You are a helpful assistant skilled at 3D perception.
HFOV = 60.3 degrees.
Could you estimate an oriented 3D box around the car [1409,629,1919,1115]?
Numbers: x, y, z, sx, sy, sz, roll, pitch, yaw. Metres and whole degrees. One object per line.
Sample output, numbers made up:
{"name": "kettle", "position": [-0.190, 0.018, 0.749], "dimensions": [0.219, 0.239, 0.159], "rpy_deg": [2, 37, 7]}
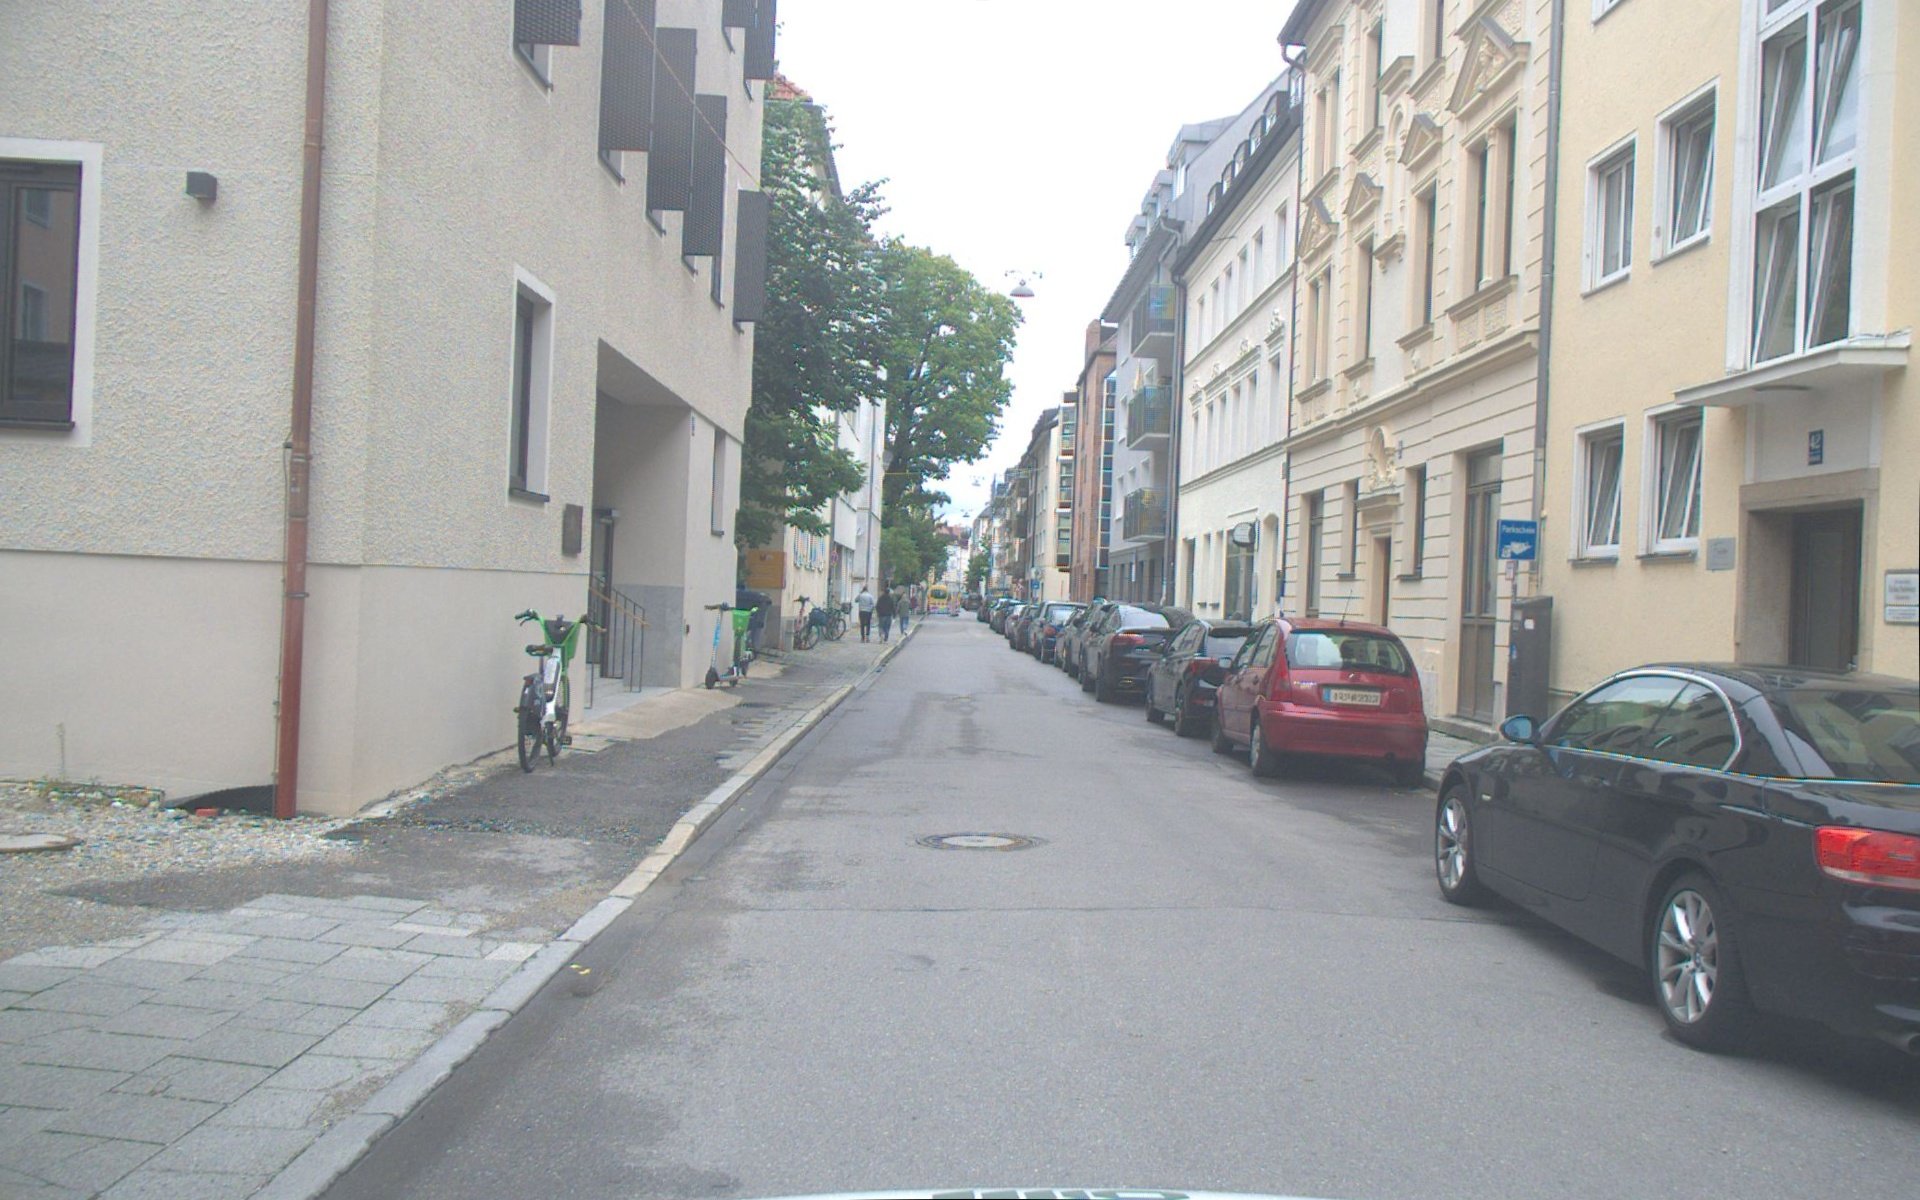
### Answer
{"name": "car", "position": [3.566, 0.942, 7.252], "dimensions": [1.789, 1.357, 4.507], "rpy_deg": [6, 0, -1]}

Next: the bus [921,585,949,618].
{"name": "bus", "position": [-2.416, 0.169, 160.529], "dimensions": [2.540, 3.156, 6.305], "rpy_deg": [1, -1, 0]}

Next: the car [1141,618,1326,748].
{"name": "car", "position": [3.450, 1.002, 21.558], "dimensions": [1.642, 1.417, 4.065], "rpy_deg": [2, 0, -1]}

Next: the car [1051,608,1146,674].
{"name": "car", "position": [3.217, 0.934, 39.075], "dimensions": [1.763, 1.410, 4.348], "rpy_deg": [2, 0, -1]}

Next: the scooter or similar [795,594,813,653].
{"name": "scooter or similar", "position": [-3.760, 0.564, 39.874], "dimensions": [0.311, 1.400, 1.239], "rpy_deg": [1, -1, -1]}

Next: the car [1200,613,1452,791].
{"name": "car", "position": [3.620, 0.943, 16.994], "dimensions": [1.642, 1.518, 3.853], "rpy_deg": [2, 0, -1]}

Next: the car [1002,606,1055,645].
{"name": "car", "position": [2.806, 1.040, 68.427], "dimensions": [1.799, 1.442, 4.599], "rpy_deg": [3, 0, -2]}

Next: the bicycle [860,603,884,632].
{"name": "bicycle", "position": [-3.959, 0.784, 74.424], "dimensions": [0.631, 1.239, 1.655], "rpy_deg": [2, -1, -19]}

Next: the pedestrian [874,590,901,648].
{"name": "pedestrian", "position": [-2.303, 0.598, 52.561], "dimensions": [0.704, 1.796, 0.838], "rpy_deg": [4, -1, 0]}

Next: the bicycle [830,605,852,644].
{"name": "bicycle", "position": [-3.711, 0.764, 51.464], "dimensions": [0.551, 1.179, 1.718], "rpy_deg": [2, -1, -6]}

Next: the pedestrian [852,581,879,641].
{"name": "pedestrian", "position": [-2.984, 0.342, 52.261], "dimensions": [0.704, 1.828, 0.916], "rpy_deg": [4, -1, 0]}

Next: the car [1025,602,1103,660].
{"name": "car", "position": [2.996, 0.870, 48.528], "dimensions": [1.838, 1.598, 4.314], "rpy_deg": [1, 0, -2]}

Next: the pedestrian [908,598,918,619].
{"name": "pedestrian", "position": [-3.580, 0.657, 126.102], "dimensions": [0.740, 1.517, 0.831], "rpy_deg": [1, -1, 0]}

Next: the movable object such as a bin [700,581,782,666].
{"name": "movable object such as a bin", "position": [-4.223, 0.436, 31.987], "dimensions": [1.150, 1.466, 1.249], "rpy_deg": [7, 1, 5]}

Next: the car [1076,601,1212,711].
{"name": "car", "position": [3.034, 0.868, 28.083], "dimensions": [1.667, 1.635, 4.684], "rpy_deg": [2, 0, -1]}

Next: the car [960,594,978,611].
{"name": "car", "position": [1.013, 0.310, 192.630], "dimensions": [1.766, 1.741, 3.825], "rpy_deg": [6, 0, -2]}

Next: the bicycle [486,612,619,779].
{"name": "bicycle", "position": [-3.142, 0.697, 12.906], "dimensions": [0.527, 1.158, 1.916], "rpy_deg": [4, 0, -1]}

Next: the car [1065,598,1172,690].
{"name": "car", "position": [3.179, 0.841, 33.932], "dimensions": [1.642, 1.690, 4.512], "rpy_deg": [2, 0, -1]}

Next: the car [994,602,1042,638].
{"name": "car", "position": [2.725, 0.929, 78.274], "dimensions": [1.848, 1.582, 4.389], "rpy_deg": [3, 0, -3]}

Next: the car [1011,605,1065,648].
{"name": "car", "position": [2.971, 0.994, 63.830], "dimensions": [1.710, 1.487, 4.149], "rpy_deg": [3, 0, -2]}

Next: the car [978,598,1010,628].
{"name": "car", "position": [2.355, 0.901, 114.754], "dimensions": [1.766, 1.851, 3.998], "rpy_deg": [6, 0, -3]}

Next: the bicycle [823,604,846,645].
{"name": "bicycle", "position": [-3.772, 0.746, 49.747], "dimensions": [0.448, 1.179, 1.605], "rpy_deg": [4, -1, 0]}

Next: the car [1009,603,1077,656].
{"name": "car", "position": [2.637, 0.929, 53.408], "dimensions": [1.802, 1.555, 4.291], "rpy_deg": [3, 0, -2]}

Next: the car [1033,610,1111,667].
{"name": "car", "position": [2.912, 0.983, 43.607], "dimensions": [1.771, 1.387, 3.945], "rpy_deg": [2, 0, 0]}

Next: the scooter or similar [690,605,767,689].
{"name": "scooter or similar", "position": [-3.414, 0.700, 24.478], "dimensions": [0.540, 1.163, 1.359], "rpy_deg": [4, -1, 16]}

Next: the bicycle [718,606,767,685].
{"name": "bicycle", "position": [-3.479, 0.702, 26.543], "dimensions": [0.533, 1.181, 1.881], "rpy_deg": [4, 0, -2]}

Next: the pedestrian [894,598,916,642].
{"name": "pedestrian", "position": [-2.179, 0.808, 65.827], "dimensions": [0.738, 1.688, 0.906], "rpy_deg": [4, -1, -1]}

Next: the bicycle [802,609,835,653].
{"name": "bicycle", "position": [-3.556, 0.775, 41.607], "dimensions": [0.690, 1.001, 1.821], "rpy_deg": [6, -1, -5]}
